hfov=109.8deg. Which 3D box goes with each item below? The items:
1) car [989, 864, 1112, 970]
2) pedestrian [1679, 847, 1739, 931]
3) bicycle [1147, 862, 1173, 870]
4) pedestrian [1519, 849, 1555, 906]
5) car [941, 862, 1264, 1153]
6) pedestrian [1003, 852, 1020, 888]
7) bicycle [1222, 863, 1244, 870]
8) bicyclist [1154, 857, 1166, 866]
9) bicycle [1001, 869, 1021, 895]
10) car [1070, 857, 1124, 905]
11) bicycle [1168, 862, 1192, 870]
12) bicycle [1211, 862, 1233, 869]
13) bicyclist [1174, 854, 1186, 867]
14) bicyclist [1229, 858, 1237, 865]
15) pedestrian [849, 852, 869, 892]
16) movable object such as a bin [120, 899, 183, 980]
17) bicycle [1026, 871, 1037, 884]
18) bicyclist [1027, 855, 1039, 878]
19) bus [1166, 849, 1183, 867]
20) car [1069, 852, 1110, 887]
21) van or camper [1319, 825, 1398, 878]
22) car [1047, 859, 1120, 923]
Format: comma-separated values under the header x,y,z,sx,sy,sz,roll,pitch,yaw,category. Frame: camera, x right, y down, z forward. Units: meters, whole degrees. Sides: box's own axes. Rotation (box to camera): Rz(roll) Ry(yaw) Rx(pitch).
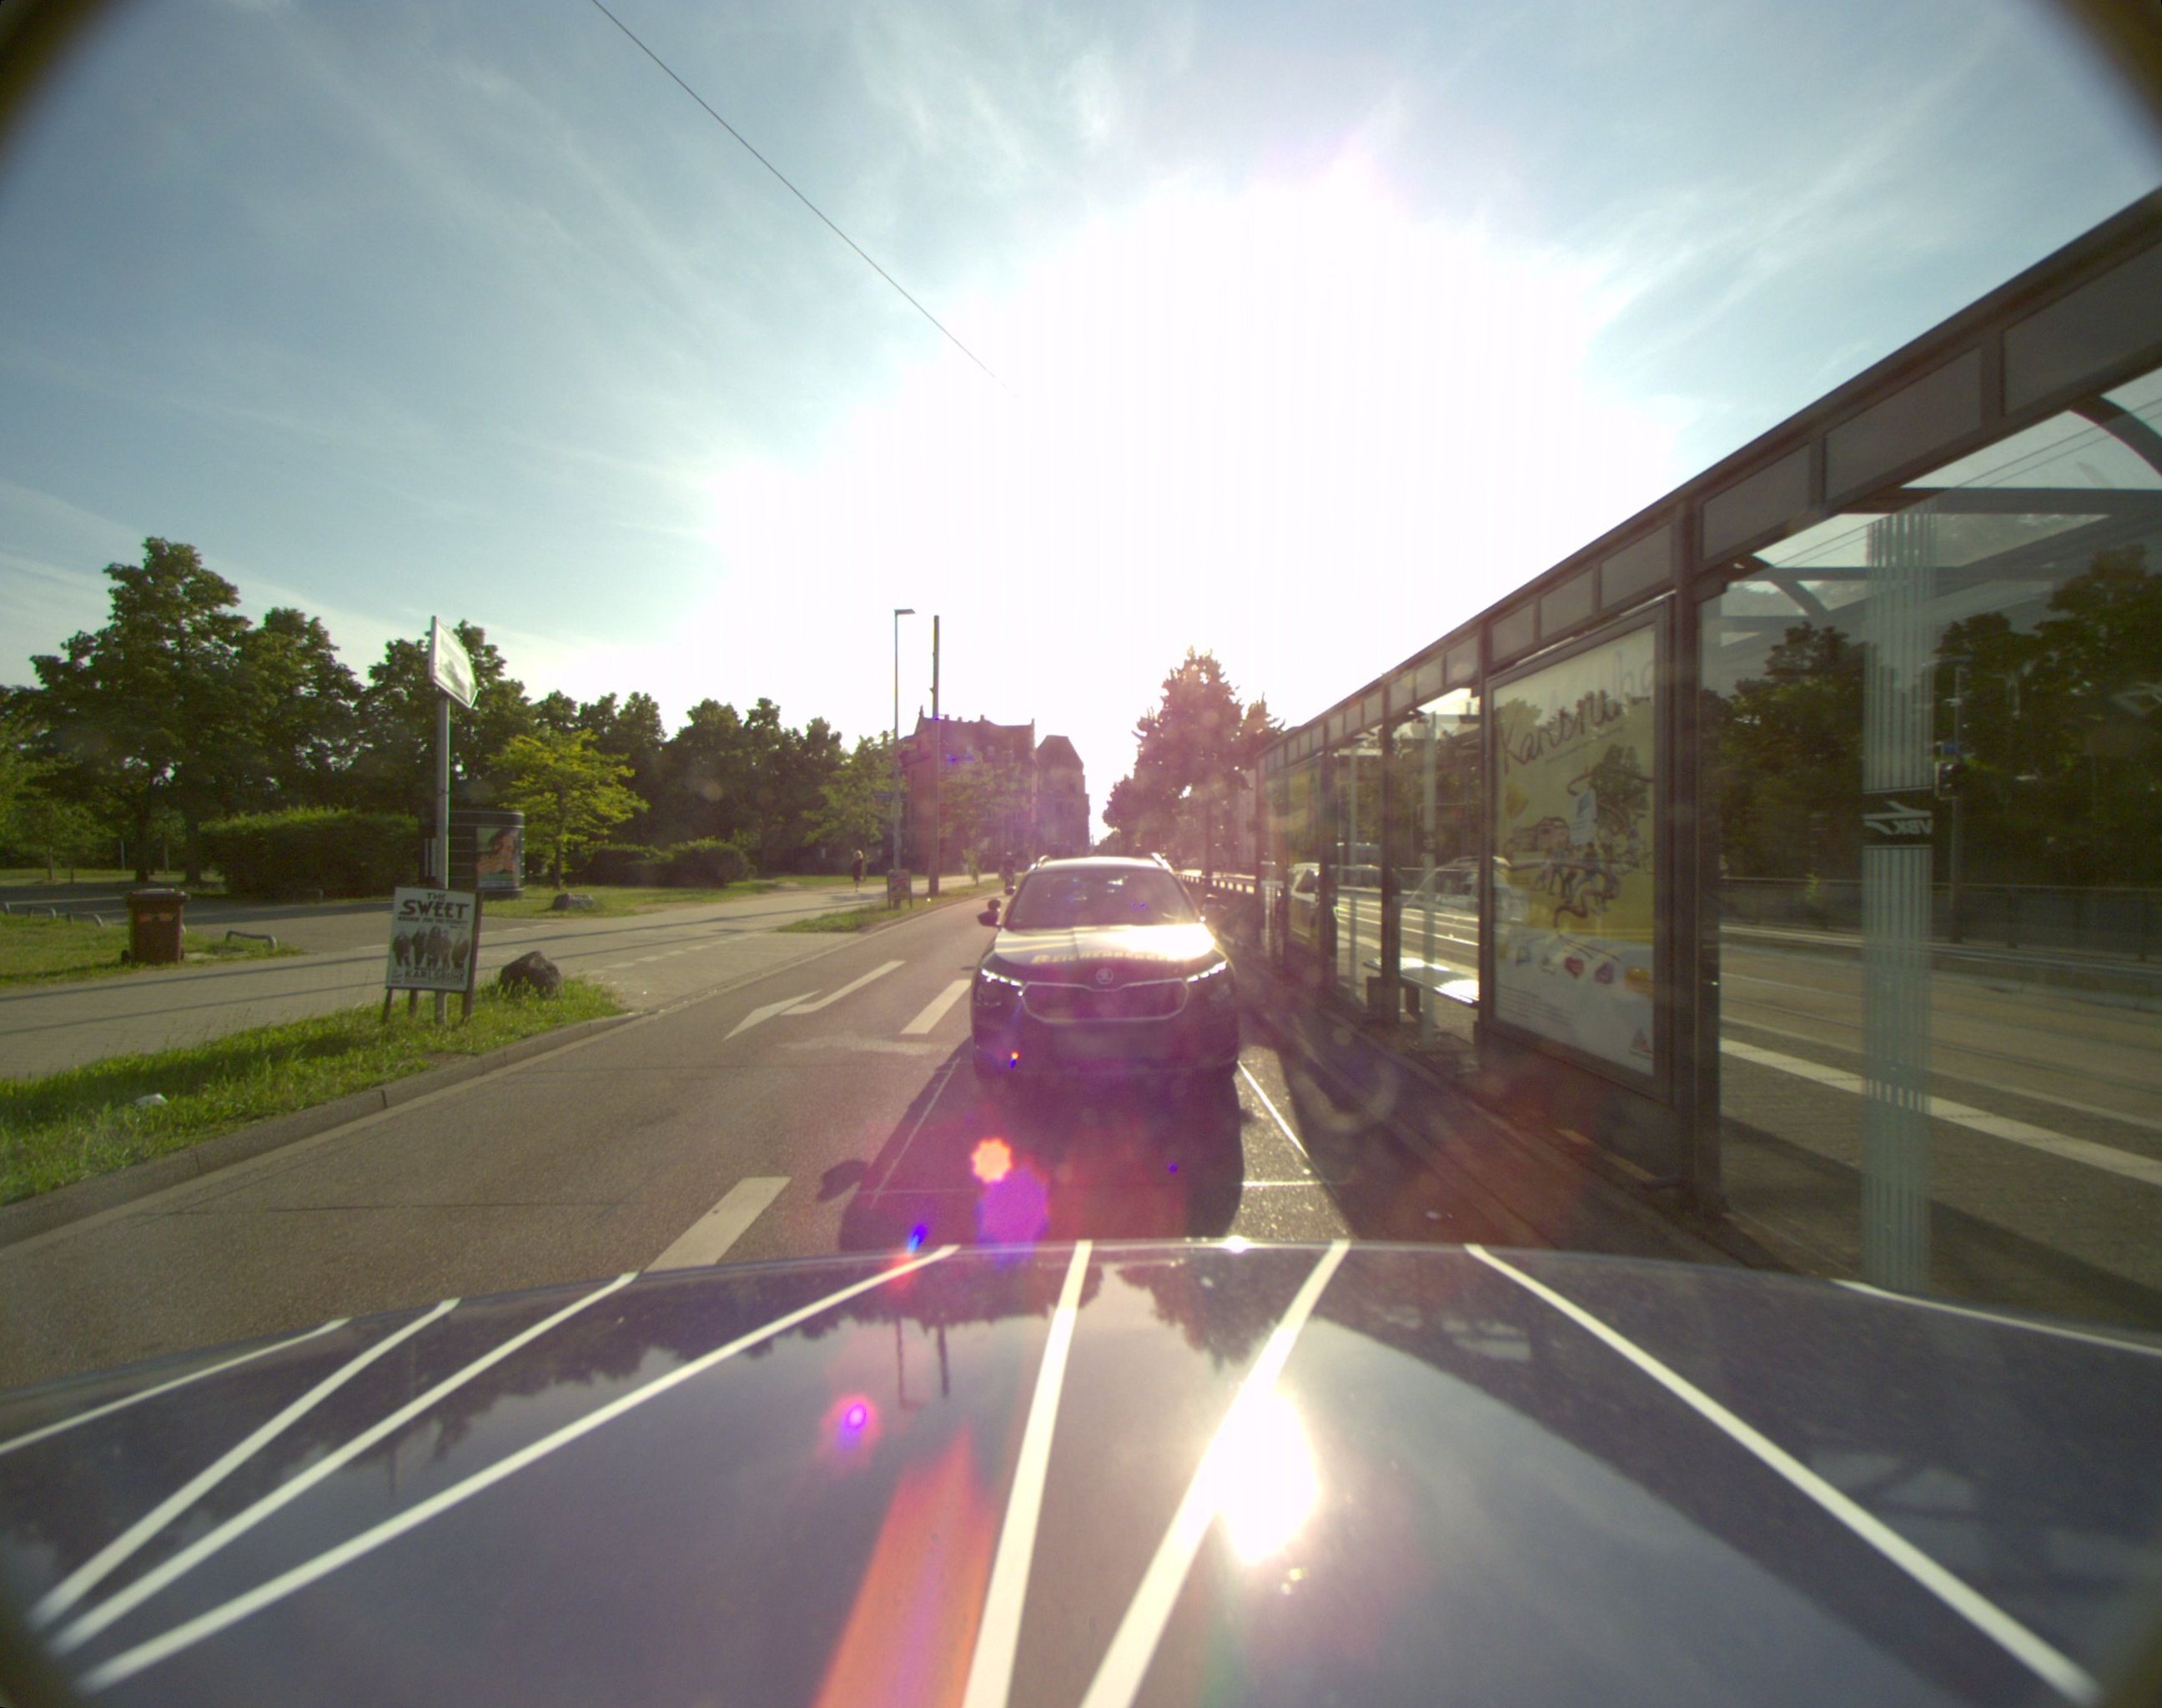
x,y,z,sx,sy,sz,roll,pitch,yaw,category
-0.409,0.952,13.218,1.756,1.451,4.235,-1,0,1,car
12.990,0.706,15.725,0.621,1.675,0.618,3,1,1,pedestrian
9.440,1.455,90.884,2.962,0.974,0.879,0,0,-2,bicycle
13.679,0.692,22.815,0.621,1.675,0.618,3,1,1,pedestrian
0.156,0.878,6.334,1.756,1.534,4.235,-1,0,1,car
-3.019,0.693,33.214,0.637,1.512,0.845,-2,1,-1,pedestrian
18.730,1.580,93.661,2.536,0.876,0.631,0,0,5,bicycle
9.444,0.877,90.888,1.402,1.000,0.888,0,0,-1,bicyclist
-3.032,1.205,33.156,0.651,1.040,1.980,-2,1,1,bicycle
0.558,0.897,27.029,1.756,1.534,4.235,-1,0,1,car
12.391,1.445,95.273,2.962,0.974,0.879,0,0,-2,bicycle
17.190,1.432,92.684,2.536,0.876,0.631,0,0,5,bicycle
12.421,0.800,95.273,1.402,1.538,0.888,0,0,-1,bicyclist
18.709,0.955,93.653,0.897,0.908,0.616,0,0,5,bicyclist
-9.371,0.741,32.126,0.621,1.675,0.618,-2,1,1,pedestrian
-11.412,1.031,9.341,0.603,0.912,0.457,1,1,42,movable object such as a bin
-3.202,1.489,49.177,0.567,0.789,2.041,0,0,0,bicycle
-3.109,0.808,49.176,0.689,1.445,1.111,0,0,0,bicyclist
18.924,0.764,154.196,2.437,3.415,9.261,-2,1,1,bus
0.415,0.676,35.868,1.756,1.534,4.235,-1,0,1,car
16.900,-0.182,46.746,2.527,2.951,6.411,-2,1,1,van or camper
0.096,0.934,20.927,1.756,1.534,4.235,-1,0,1,car
